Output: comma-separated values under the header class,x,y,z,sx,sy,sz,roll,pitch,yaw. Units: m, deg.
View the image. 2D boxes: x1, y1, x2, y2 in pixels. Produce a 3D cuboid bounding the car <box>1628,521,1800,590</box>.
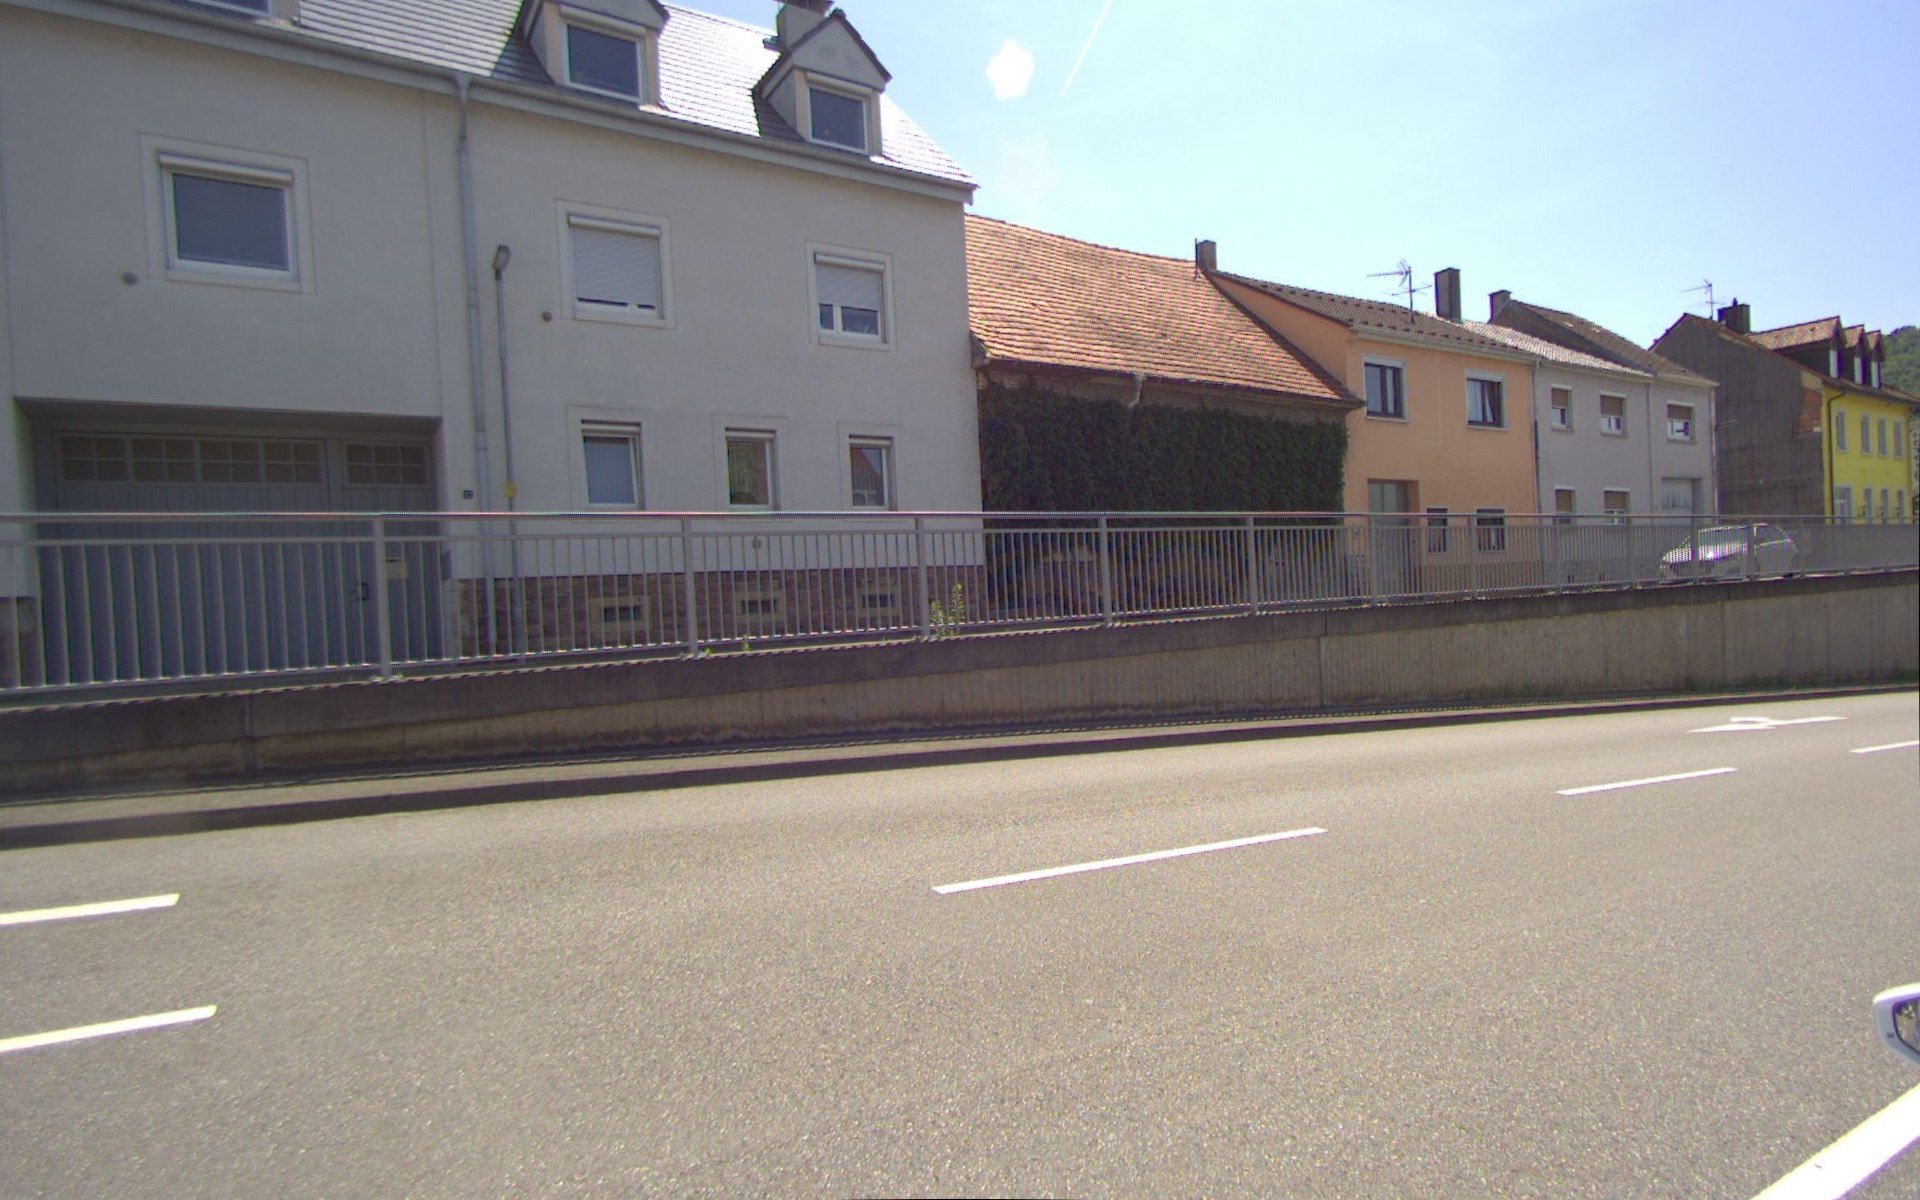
class,x,y,z,sx,sy,sz,roll,pitch,yaw
car,17.876,-1.062,23.772,4.259,1.482,1.804,-3,2,-31
